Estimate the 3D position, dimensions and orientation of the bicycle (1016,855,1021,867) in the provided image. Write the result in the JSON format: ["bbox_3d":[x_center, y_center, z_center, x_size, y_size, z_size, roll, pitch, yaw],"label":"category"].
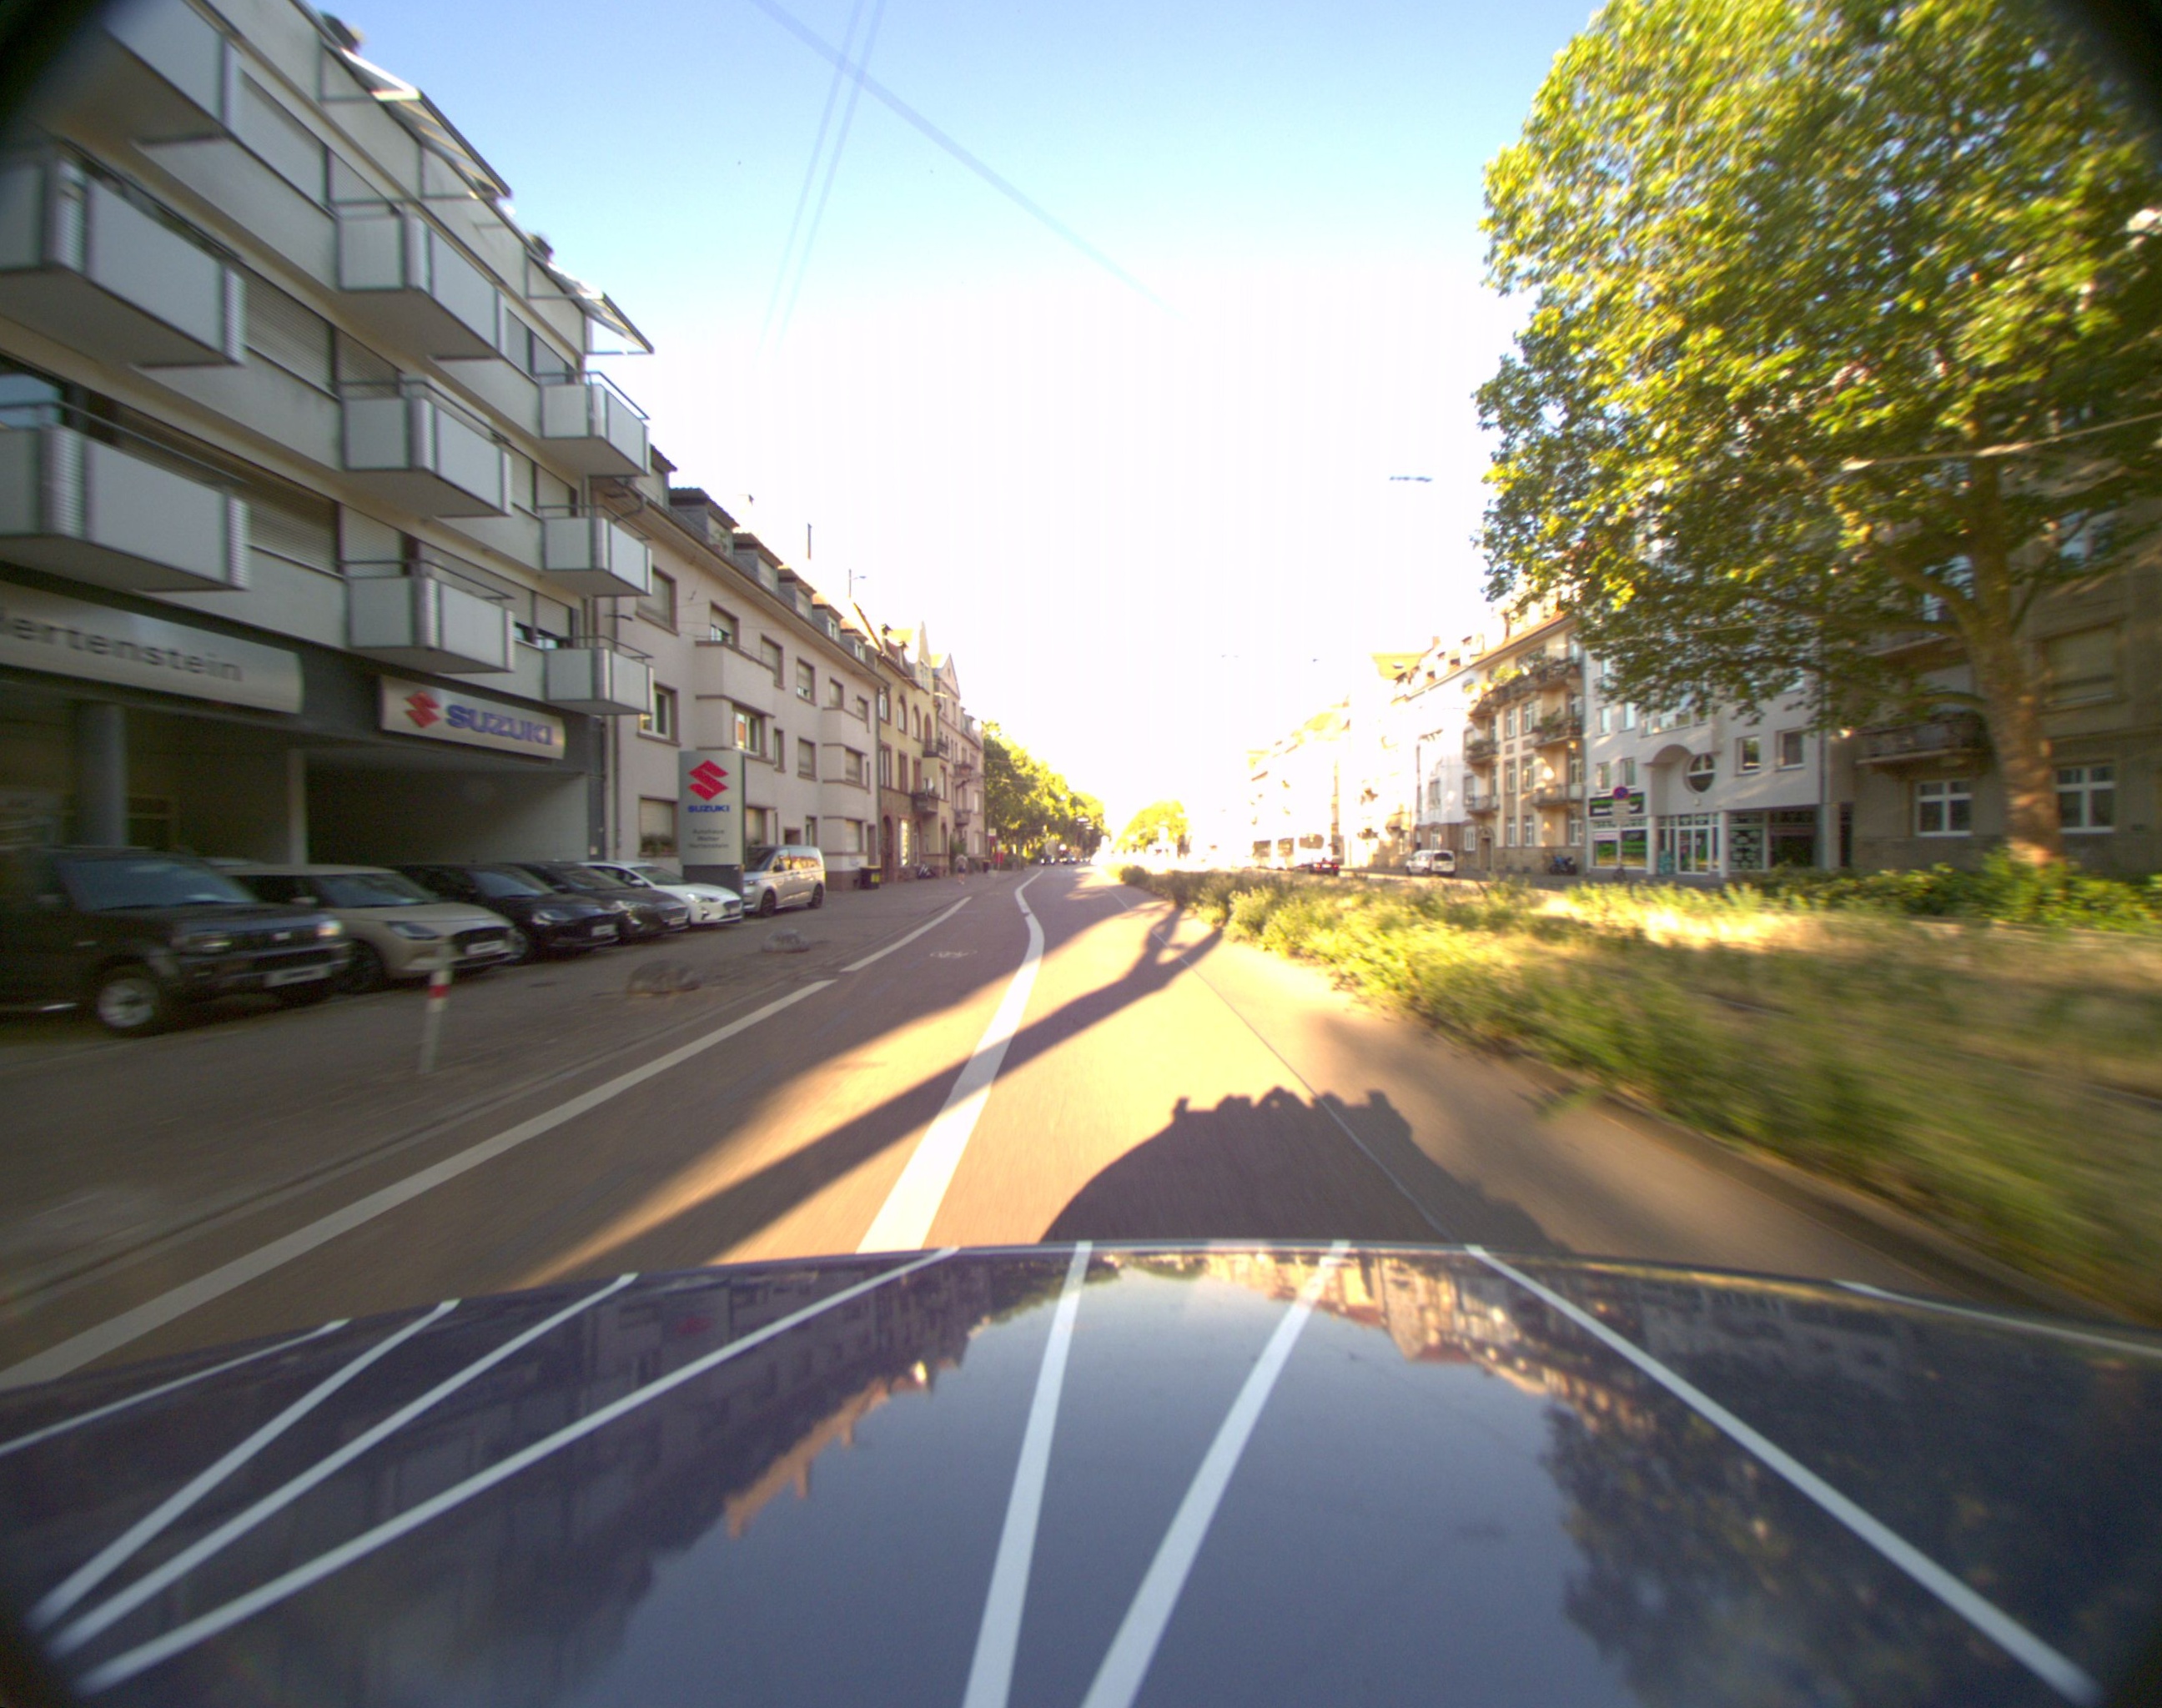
[{"bbox_3d":[-6.123,0.676,74.474,0.370,1.062,1.874,-1,0,1],"label":"bicycle"}]

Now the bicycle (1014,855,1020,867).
[{"bbox_3d":[-6.035,0.681,71.400,0.438,1.092,1.931,-1,0,-2],"label":"bicycle"}]

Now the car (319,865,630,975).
[{"bbox_3d":[-9.195,0.963,11.713,3.425,1.516,1.741,-1,1,4],"label":"car"}]

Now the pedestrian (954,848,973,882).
[{"bbox_3d":[-6.505,0.589,42.061,0.831,1.802,1.150,-1,2,0],"label":"pedestrian"}]

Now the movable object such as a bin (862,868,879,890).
[{"bbox_3d":[-9.428,1.114,34.096,0.555,0.964,0.585,-1,2,4],"label":"movable object such as a bin"}]

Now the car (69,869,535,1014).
[{"bbox_3d":[-9.382,0.996,9.428,3.828,1.532,1.859,-1,1,1],"label":"car"}]

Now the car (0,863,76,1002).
[{"bbox_3d":[-14.126,0.924,9.357,3.516,1.554,1.613,0,1,45],"label":"car"}]

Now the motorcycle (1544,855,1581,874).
[{"bbox_3d":[26.617,0.566,42.040,0.529,1.015,2.420,-3,1,1],"label":"motorcycle"}]

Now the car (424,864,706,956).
[{"bbox_3d":[-9.238,0.966,13.850,3.878,1.505,1.809,-1,0,0],"label":"car"}]

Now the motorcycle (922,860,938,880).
[{"bbox_3d":[-9.598,0.993,48.472,0.591,1.131,2.504,-1,1,-2],"label":"motorcycle"}]

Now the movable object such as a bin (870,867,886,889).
[{"bbox_3d":[-9.336,1.095,34.956,0.555,0.964,0.585,-1,2,4],"label":"movable object such as a bin"}]

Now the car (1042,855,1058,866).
[{"bbox_3d":[-4.876,0.990,120.195,1.877,1.587,4.001,-1,1,6],"label":"car"}]

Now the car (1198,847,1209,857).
[{"bbox_3d":[25.732,-0.443,160.011,1.919,1.889,4.309,-1,1,3],"label":"car"}]

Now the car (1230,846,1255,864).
[{"bbox_3d":[15.739,0.084,74.328,1.934,1.674,4.000,-1,1,5],"label":"car"}]

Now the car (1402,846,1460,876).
[{"bbox_3d":[23.127,0.412,50.357,1.908,1.777,4.653,-1,1,3],"label":"car"}]

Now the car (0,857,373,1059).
[{"bbox_3d":[-9.387,0.905,7.359,3.588,1.710,1.682,-1,0,4],"label":"car"}]

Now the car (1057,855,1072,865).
[{"bbox_3d":[-2.560,0.938,120.727,1.877,1.587,4.001,-1,1,6],"label":"car"}]

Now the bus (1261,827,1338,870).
[{"bbox_3d":[18.395,-0.553,65.121,3.263,3.355,11.974,-1,1,1],"label":"bus"}]

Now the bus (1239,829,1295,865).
[{"bbox_3d":[18.487,-0.795,76.126,3.273,3.355,9.896,-1,1,0],"label":"bus"}]

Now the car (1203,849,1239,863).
[{"bbox_3d":[16.678,0.213,90.659,4.050,1.517,1.782,0,2,8],"label":"car"}]

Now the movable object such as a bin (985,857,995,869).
[{"bbox_3d":[-7.883,0.772,65.602,0.657,1.040,0.659,0,2,14],"label":"movable object such as a bin"}]

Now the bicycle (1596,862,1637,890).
[{"bbox_3d":[22.813,0.924,32.398,0.758,1.027,1.896,-6,0,16],"label":"bicycle"}]

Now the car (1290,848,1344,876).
[{"bbox_3d":[13.571,0.395,43.950,1.720,1.477,4.699,2,1,1],"label":"car"}]

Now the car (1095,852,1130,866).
[{"bbox_3d":[3.818,0.628,91.383,4.123,1.565,1.717,-1,2,7],"label":"car"}]

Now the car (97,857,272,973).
[{"bbox_3d":[-14.090,0.843,12.105,3.339,1.554,1.508,0,1,45],"label":"car"}]

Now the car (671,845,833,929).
[{"bbox_3d":[-8.663,0.766,20.585,1.896,1.937,4.901,-1,1,5],"label":"car"}]

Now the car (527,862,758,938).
[{"bbox_3d":[-9.262,0.942,16.278,3.820,1.492,1.914,-1,0,3],"label":"car"}]

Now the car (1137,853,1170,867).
[{"bbox_3d":[9.024,0.721,94.684,3.996,1.696,1.836,-1,2,2],"label":"car"}]
